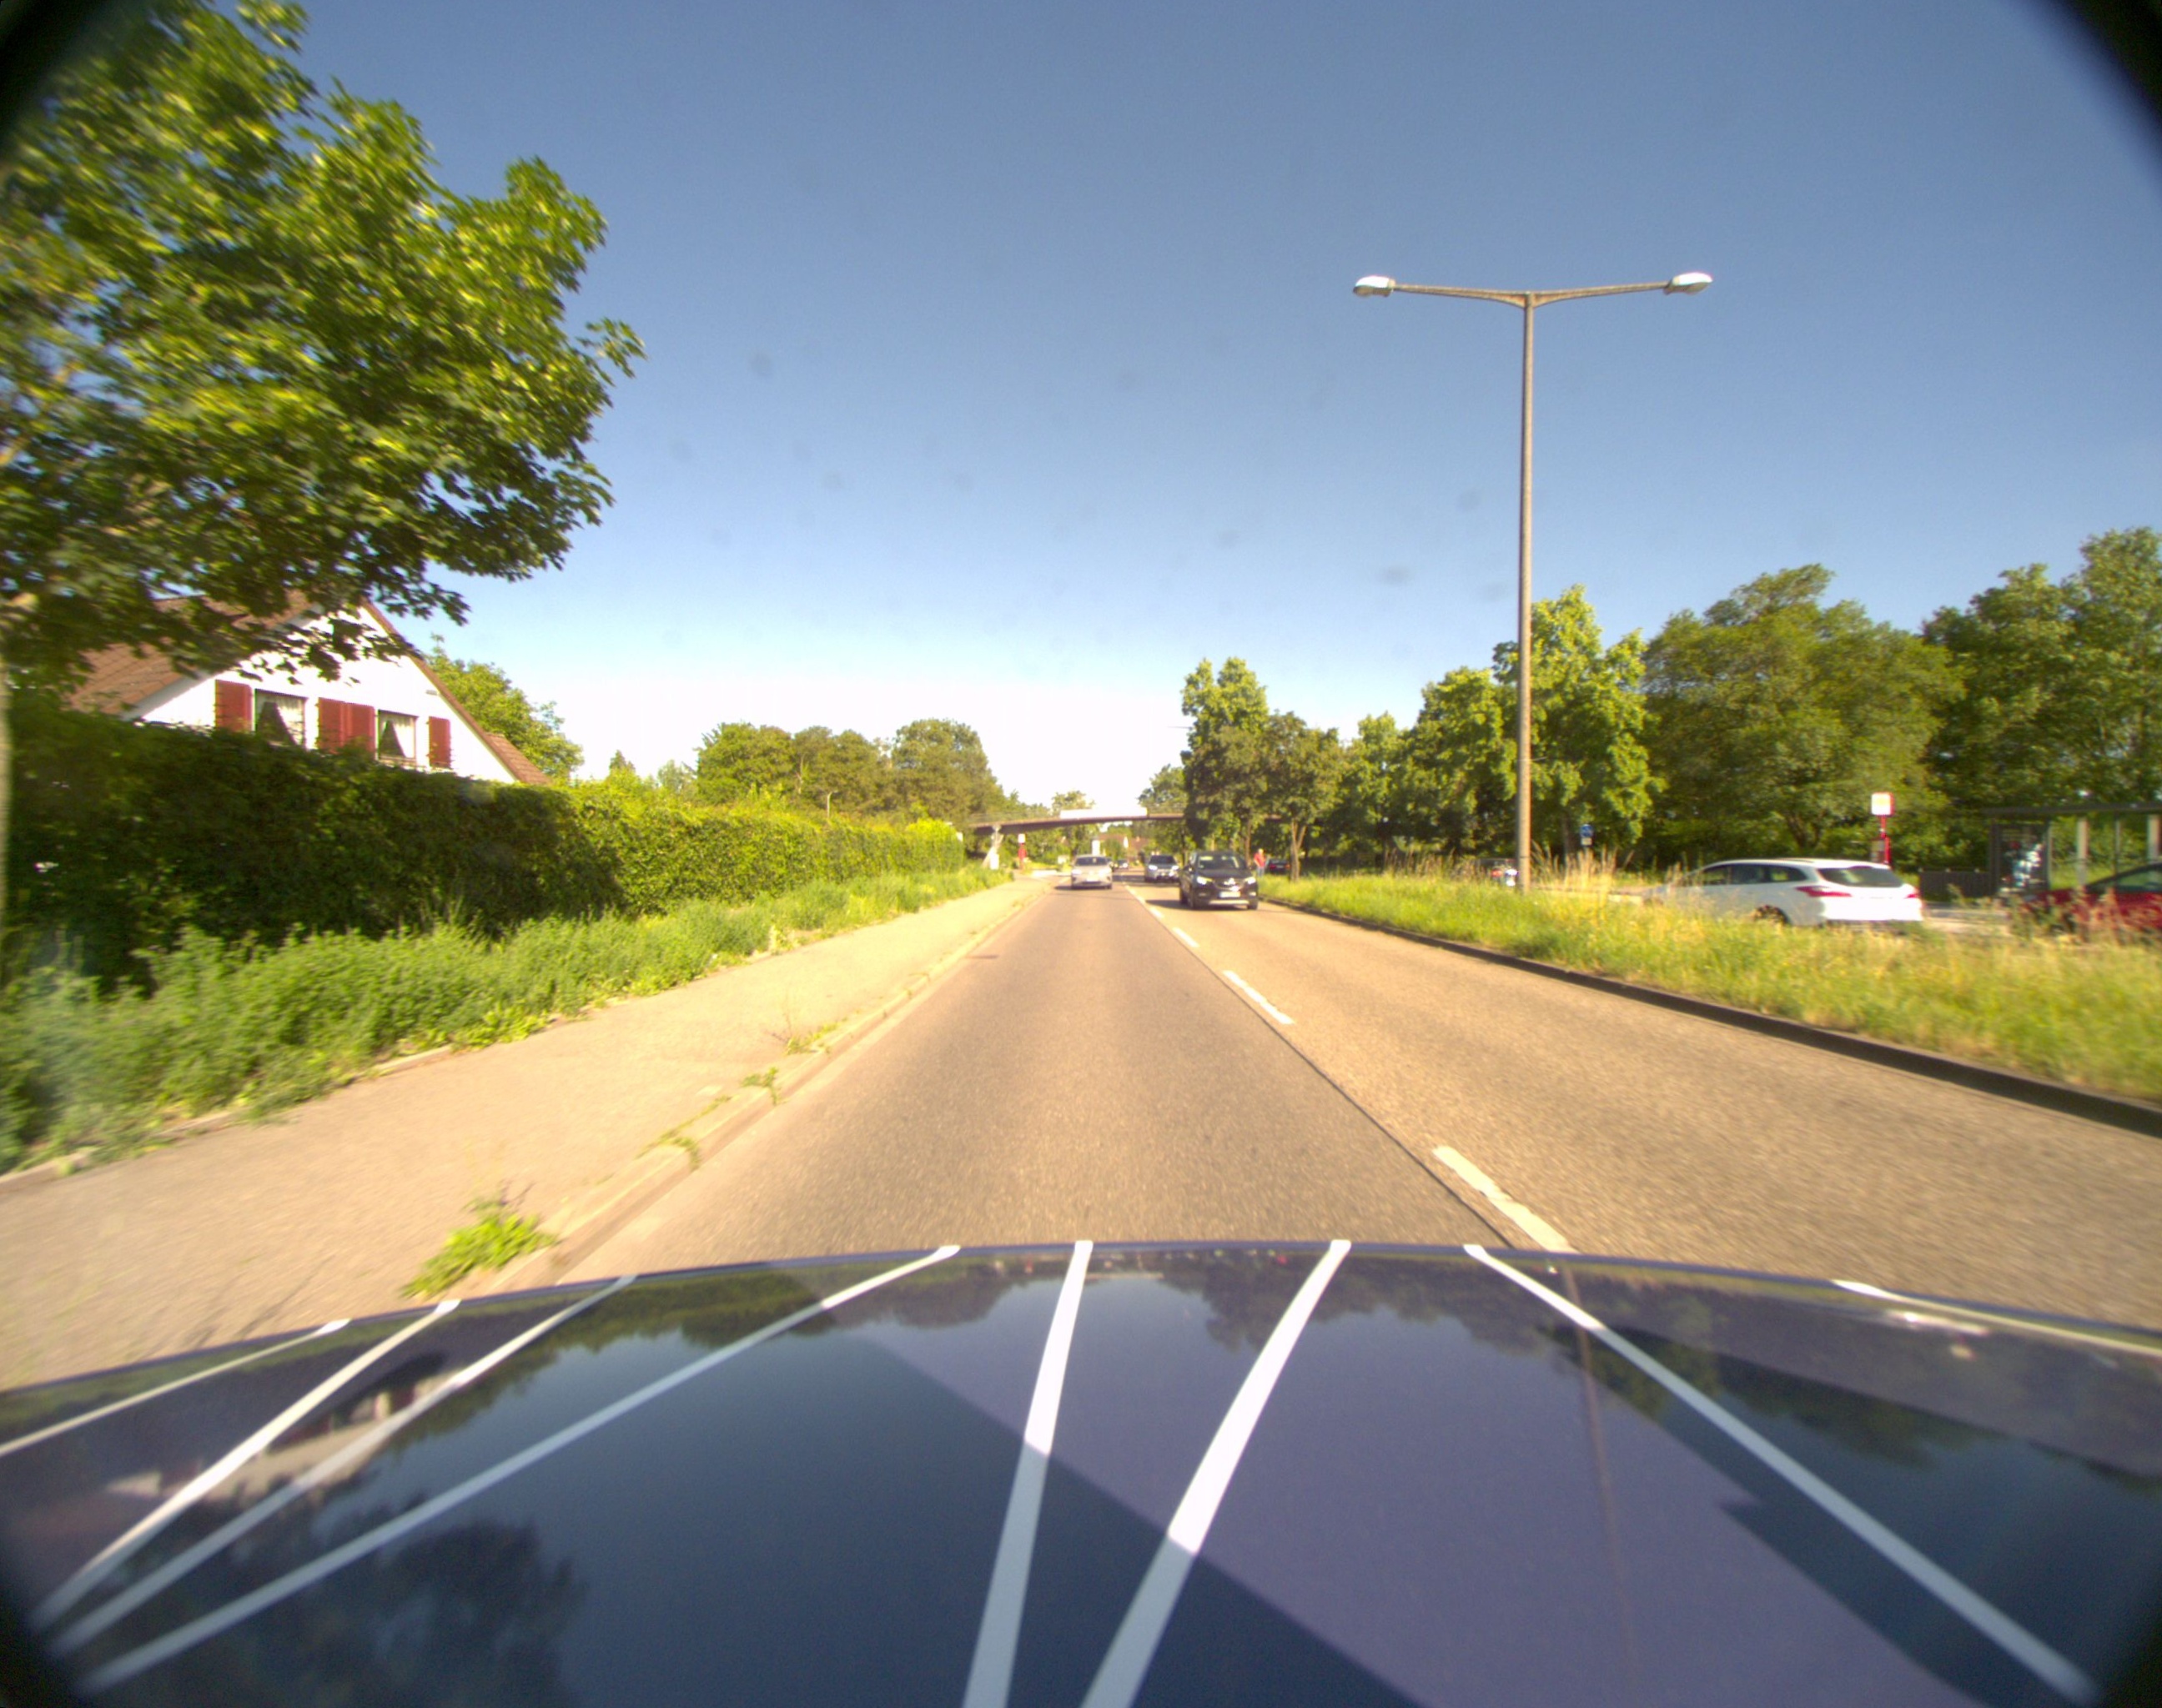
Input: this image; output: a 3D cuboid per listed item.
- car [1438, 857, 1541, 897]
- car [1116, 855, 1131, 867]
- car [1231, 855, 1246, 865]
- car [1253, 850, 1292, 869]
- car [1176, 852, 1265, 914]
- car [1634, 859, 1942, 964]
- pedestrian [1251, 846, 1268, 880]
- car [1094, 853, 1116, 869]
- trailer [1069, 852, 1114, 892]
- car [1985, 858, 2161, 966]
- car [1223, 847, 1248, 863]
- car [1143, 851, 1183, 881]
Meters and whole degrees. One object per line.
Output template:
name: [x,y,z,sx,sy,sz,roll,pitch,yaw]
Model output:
car: [16.779,0.884,31.480,1.810,1.491,4.595,0,0,0]
car: [5.737,0.912,102.822,1.823,1.587,4.274,-1,0,5]
car: [23.015,0.841,110.839,1.543,1.422,4.257,1,0,4]
car: [14.534,0.371,57.909,1.786,1.353,4.979,0,0,0]
car: [3.914,0.754,22.013,1.811,1.605,4.514,0,0,1]
car: [12.564,0.908,13.990,1.717,1.593,4.359,0,0,2]
pedestrian: [9.194,0.462,39.129,0.631,1.686,0.945,0,0,31]
car: [2.555,0.737,79.105,1.822,1.553,4.275,0,0,8]
trailer: [0.508,0.758,34.262,1.897,1.586,4.000,-1,1,2]
car: [16.490,0.880,11.153,1.608,1.554,4.000,2,0,0]
car: [16.152,0.074,79.688,1.734,1.622,4.198,1,0,1]
car: [4.553,0.673,42.640,1.823,1.553,4.647,-1,-1,2]
